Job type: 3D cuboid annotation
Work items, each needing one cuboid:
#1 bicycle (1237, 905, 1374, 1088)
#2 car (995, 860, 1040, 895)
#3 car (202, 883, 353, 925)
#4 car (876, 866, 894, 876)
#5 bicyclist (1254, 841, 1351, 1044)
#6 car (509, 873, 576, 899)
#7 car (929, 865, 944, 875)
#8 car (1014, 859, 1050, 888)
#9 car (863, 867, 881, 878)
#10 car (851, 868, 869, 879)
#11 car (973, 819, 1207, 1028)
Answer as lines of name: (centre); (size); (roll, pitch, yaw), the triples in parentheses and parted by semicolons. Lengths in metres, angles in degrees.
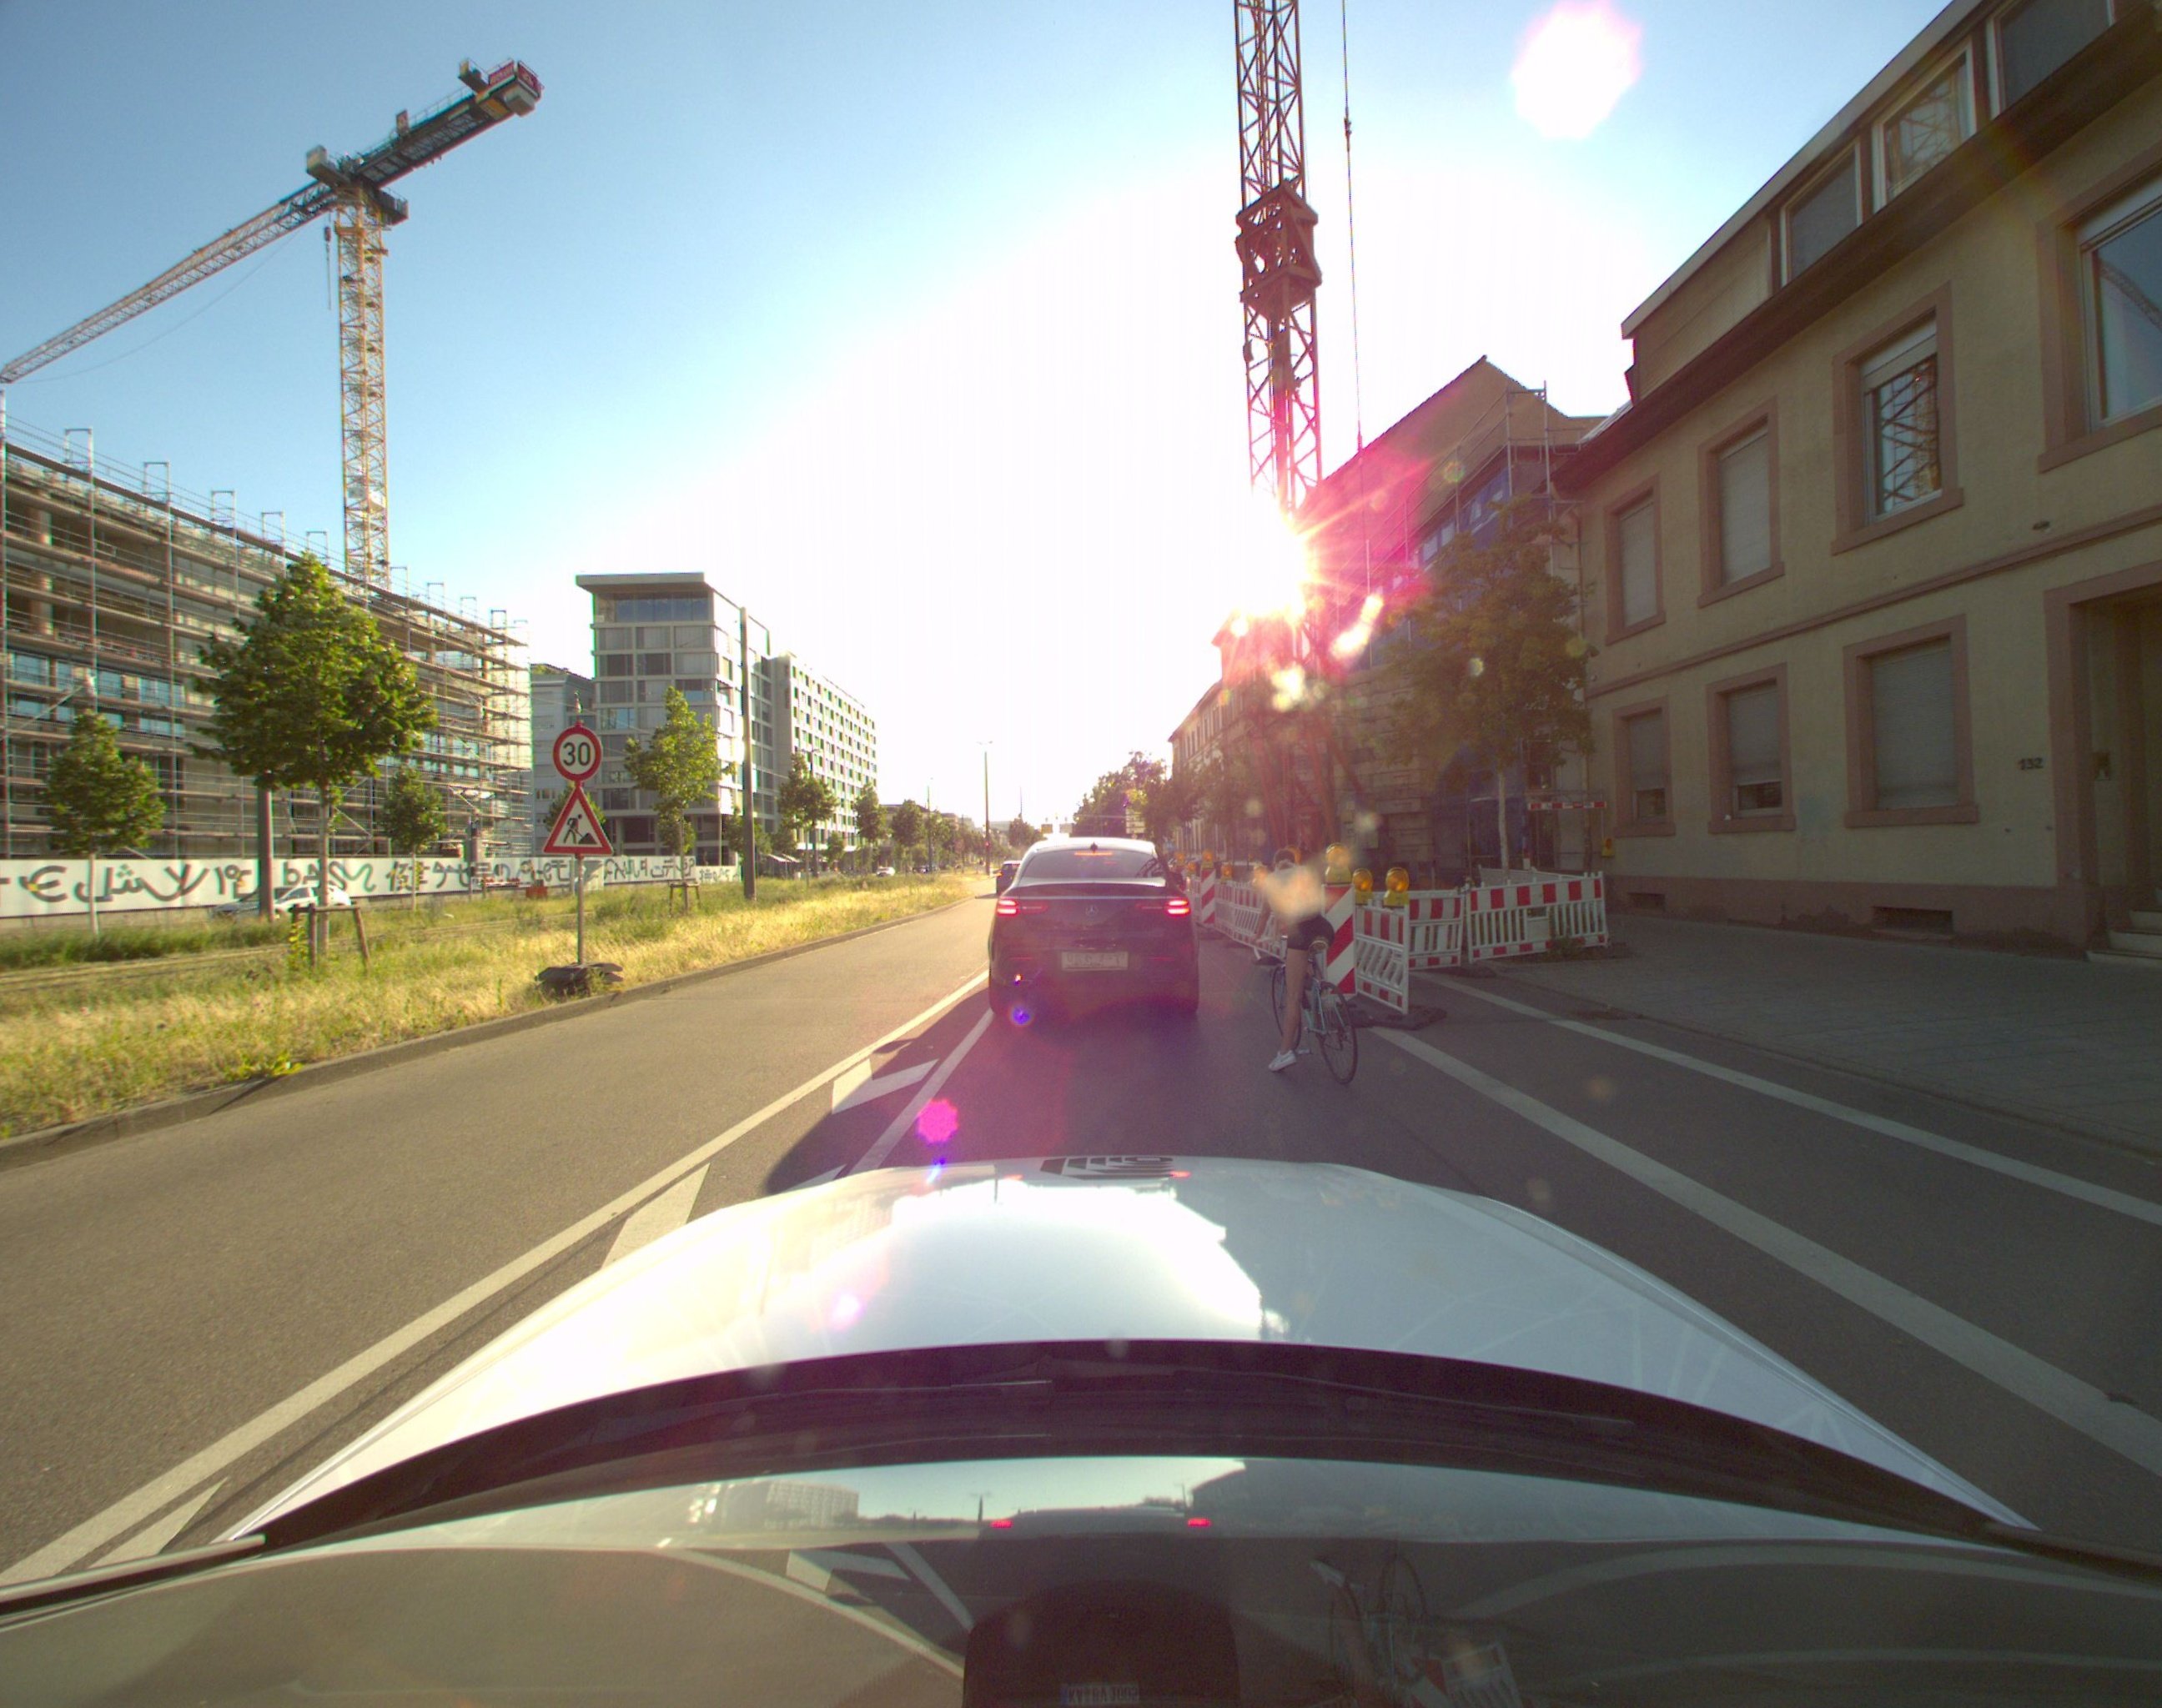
bicycle: (1.586, 0.956, 6.023); (0.511, 1.052, 1.724); (0, -1, -1)
car: (-2.726, 0.986, 35.521); (1.703, 1.442, 3.581); (0, -1, 0)
car: (-30.145, 1.821, 30.733); (1.522, 1.310, 4.094); (-1, 0, 2)
car: (-28.003, 2.399, 116.451); (1.703, 1.442, 3.581); (0, -1, 0)
bicyclist: (1.591, 0.613, 5.926); (0.521, 1.395, 0.614); (0, -1, -1)
car: (-32.614, 1.894, 49.447); (1.703, 1.442, 3.581); (0, -1, 0)
car: (-21.734, 2.399, 122.454); (1.703, 1.442, 3.581); (0, -1, 0)
car: (-2.541, 1.007, 42.899); (1.703, 1.442, 3.581); (0, -1, 0)
car: (-30.235, 2.701, 118.126); (1.703, 1.442, 3.581); (0, -1, 0)
car: (-32.183, 2.831, 118.521); (1.703, 1.442, 3.581); (0, -1, 0)
car: (0.141, 0.612, 8.953); (1.986, 1.772, 4.001); (0, -1, 2)
